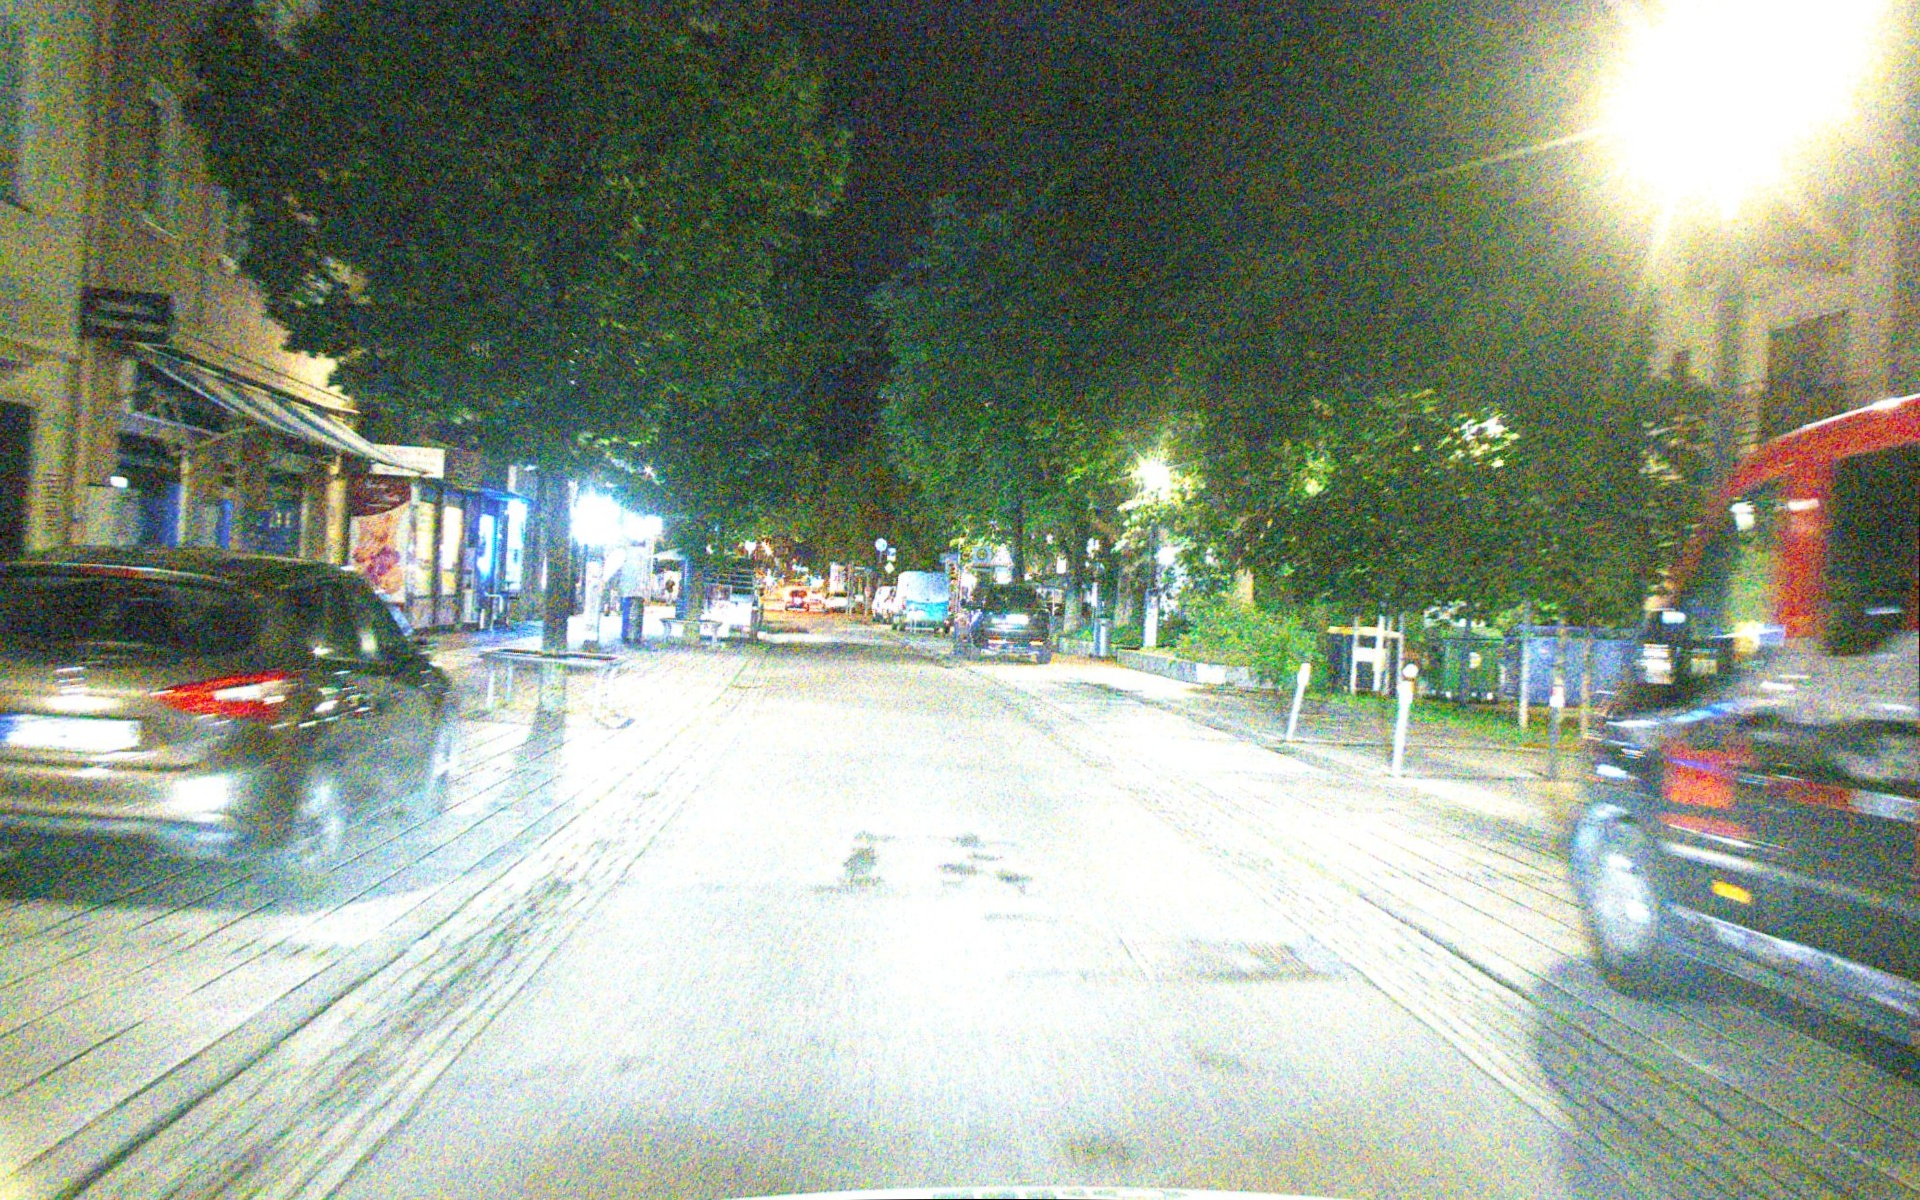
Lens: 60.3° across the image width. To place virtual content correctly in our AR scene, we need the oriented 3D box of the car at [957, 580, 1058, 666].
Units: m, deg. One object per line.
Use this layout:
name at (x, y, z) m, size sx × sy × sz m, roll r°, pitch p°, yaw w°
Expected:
car at (1.082, 0.518, 39.777) m, size 1.780 × 1.860 × 4.341 m, roll 3°, pitch 0°, yaw -6°

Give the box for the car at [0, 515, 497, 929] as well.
car at (-3.688, 0.467, 8.635) m, size 1.641 × 1.570 × 4.225 m, roll 4°, pitch 0°, yaw -6°

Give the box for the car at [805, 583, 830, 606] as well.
car at (-12.323, -0.478, 143.157) m, size 1.956 × 1.855 × 3.994 m, roll 3°, pitch 0°, yaw -7°

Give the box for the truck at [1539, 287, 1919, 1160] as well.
truck at (3.742, 0.364, 4.333) m, size 2.289 × 2.352 × 5.779 m, roll 2°, pitch 0°, yaw -1°

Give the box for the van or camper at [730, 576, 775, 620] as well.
van or camper at (-10.174, -0.102, 80.903) m, size 1.900 × 2.023 × 3.837 m, roll 3°, pitch 0°, yaw -10°

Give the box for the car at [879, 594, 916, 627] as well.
car at (-2.976, 0.477, 78.520) m, size 1.501 × 1.443 × 3.841 m, roll 3°, pitch 0°, yaw -5°

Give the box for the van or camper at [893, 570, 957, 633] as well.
van or camper at (-1.430, 0.039, 65.630) m, size 2.068 × 2.357 × 4.256 m, roll 2°, pitch 0°, yaw -7°

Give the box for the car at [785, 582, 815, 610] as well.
car at (-11.602, -0.303, 119.942) m, size 1.956 × 1.855 × 3.993 m, roll 3°, pitch 0°, yaw -8°

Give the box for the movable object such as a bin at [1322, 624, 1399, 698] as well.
movable object such as a bin at (7.676, 1.161, 31.754) m, size 1.083 × 1.329 × 1.009 m, roll 4°, pitch -1°, yaw -7°

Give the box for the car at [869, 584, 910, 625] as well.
car at (-3.622, 0.231, 84.265) m, size 1.804 × 1.934 × 3.841 m, roll 3°, pitch 0°, yaw -5°

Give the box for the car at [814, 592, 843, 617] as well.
car at (-8.879, 0.302, 111.528) m, size 1.804 × 1.569 × 3.841 m, roll 3°, pitch 0°, yaw -5°

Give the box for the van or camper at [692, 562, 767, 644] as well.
van or camper at (-6.416, 0.084, 46.315) m, size 1.831 × 2.045 × 4.256 m, roll 5°, pitch 0°, yaw -7°

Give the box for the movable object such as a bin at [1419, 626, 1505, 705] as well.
movable object such as a bin at (9.715, 1.262, 32.072) m, size 1.236 × 1.444 × 1.116 m, roll 2°, pitch -1°, yaw -5°
